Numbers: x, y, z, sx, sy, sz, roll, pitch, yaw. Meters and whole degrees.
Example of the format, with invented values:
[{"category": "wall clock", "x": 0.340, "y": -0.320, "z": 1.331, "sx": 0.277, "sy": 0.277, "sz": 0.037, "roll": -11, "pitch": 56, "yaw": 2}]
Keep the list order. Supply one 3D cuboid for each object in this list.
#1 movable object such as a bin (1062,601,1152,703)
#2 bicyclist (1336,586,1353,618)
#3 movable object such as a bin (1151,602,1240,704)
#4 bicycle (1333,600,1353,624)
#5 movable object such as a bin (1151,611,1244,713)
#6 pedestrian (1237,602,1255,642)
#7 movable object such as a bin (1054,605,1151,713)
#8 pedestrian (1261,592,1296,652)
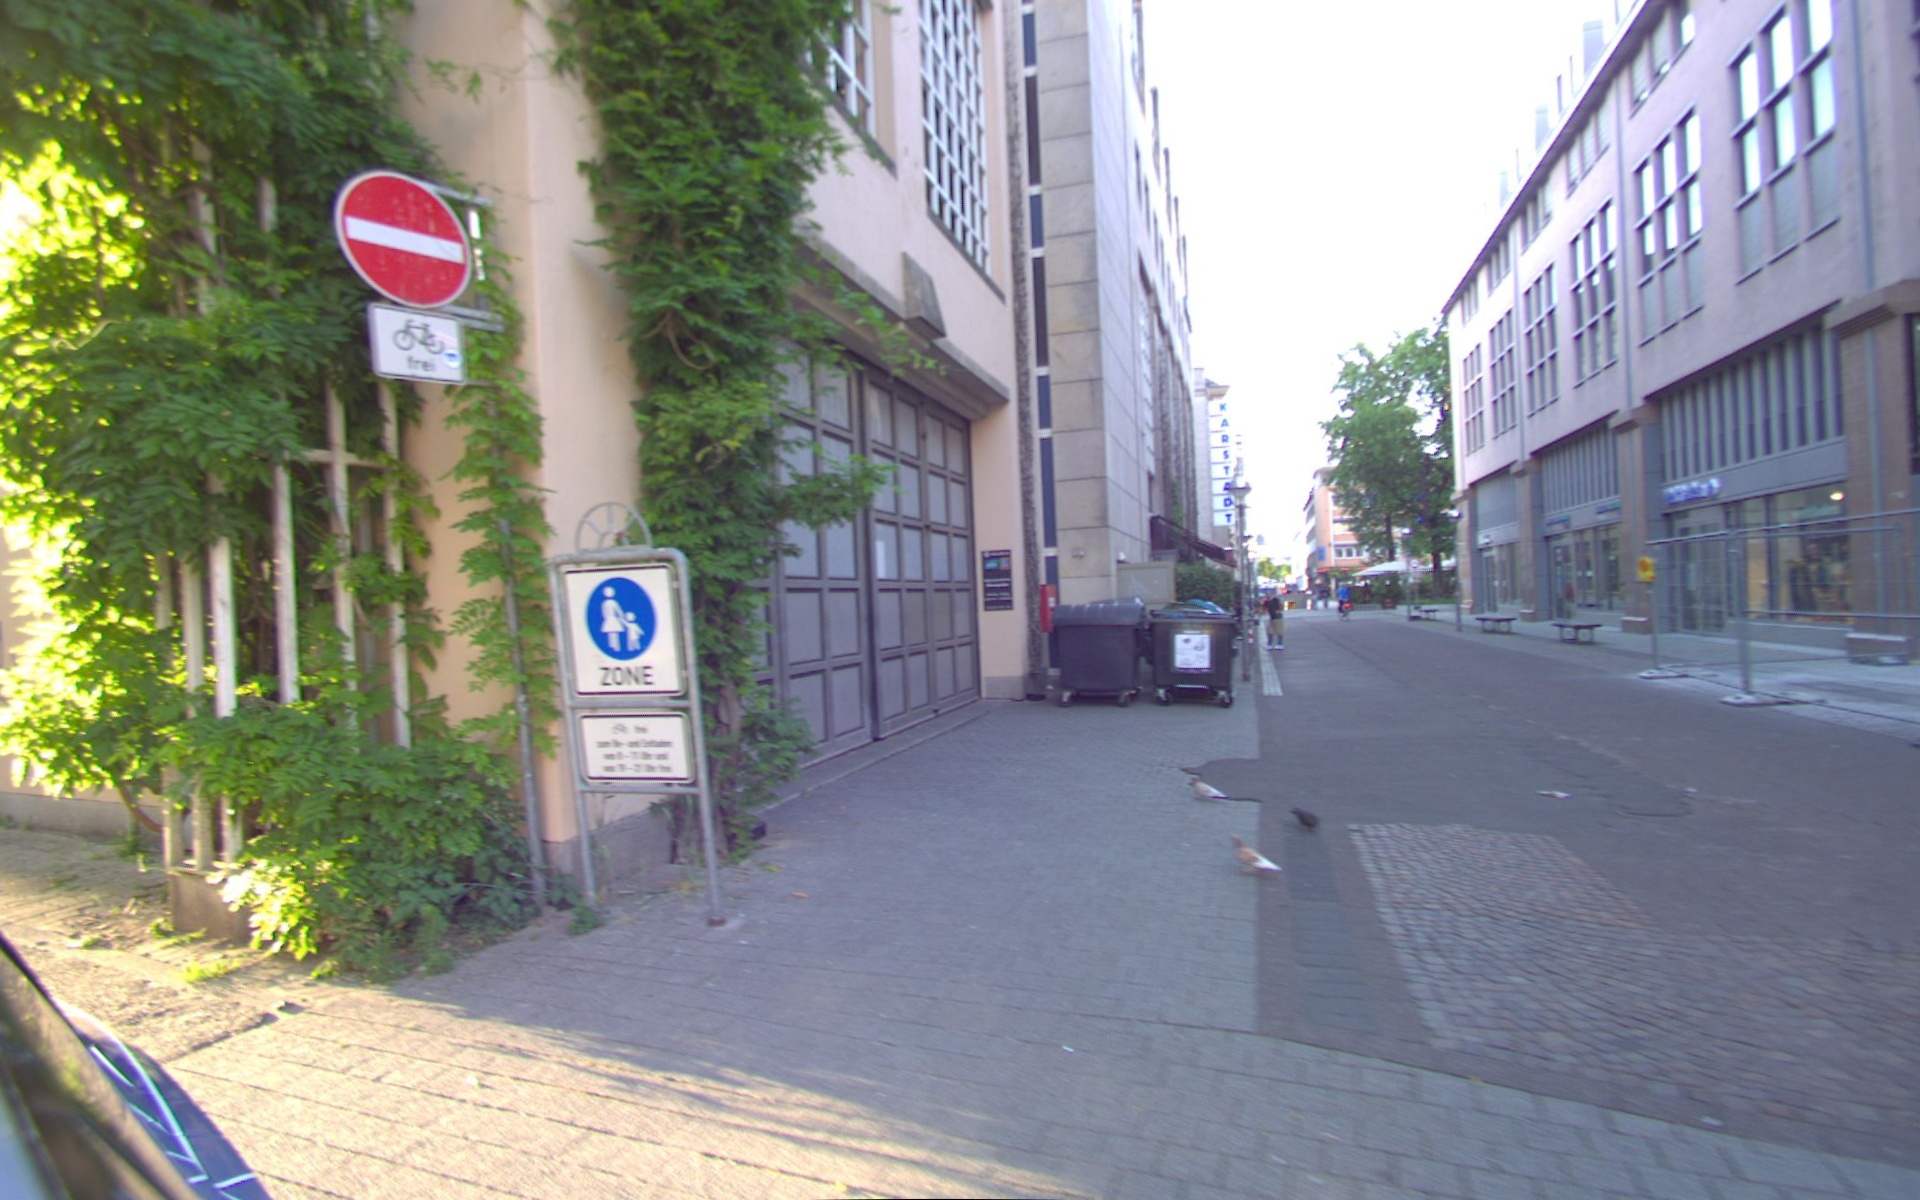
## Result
[{"category": "movable object such as a bin", "x": 2.269, "y": 0.769, "z": 15.492, "sx": 1.221, "sy": 1.499, "sz": 1.163, "roll": -1, "pitch": 0, "yaw": 15}, {"category": "bicyclist", "x": 17.377, "y": 0.087, "z": 45.769, "sx": 0.584, "sy": 1.419, "sz": 0.629, "roll": -2, "pitch": -1, "yaw": 15}, {"category": "movable object such as a bin", "x": 3.622, "y": 0.775, "z": 15.567, "sx": 1.265, "sy": 1.478, "sz": 1.163, "roll": 1, "pitch": 0, "yaw": 15}, {"category": "bicycle", "x": 17.432, "y": 0.536, "z": 46.038, "sx": 0.539, "sy": 1.059, "sz": 1.941, "roll": -2, "pitch": -1, "yaw": 13}, {"category": "movable object such as a bin", "x": 3.359, "y": 0.843, "z": 14.319, "sx": 1.221, "sy": 1.340, "sz": 1.163, "roll": 1, "pitch": 0, "yaw": 15}, {"category": "pedestrian", "x": 10.471, "y": 0.795, "z": 37.059, "sx": 0.584, "sy": 1.419, "sz": 0.629, "roll": -2, "pitch": -1, "yaw": 16}, {"category": "movable object such as a bin", "x": 2.038, "y": 0.804, "z": 14.310, "sx": 1.221, "sy": 1.448, "sz": 1.163, "roll": -1, "pitch": 0, "yaw": 15}, {"category": "pedestrian", "x": 8.780, "y": 0.601, "z": 27.889, "sx": 0.696, "sy": 1.599, "sz": 0.712, "roll": -3, "pitch": -1, "yaw": 37}]
